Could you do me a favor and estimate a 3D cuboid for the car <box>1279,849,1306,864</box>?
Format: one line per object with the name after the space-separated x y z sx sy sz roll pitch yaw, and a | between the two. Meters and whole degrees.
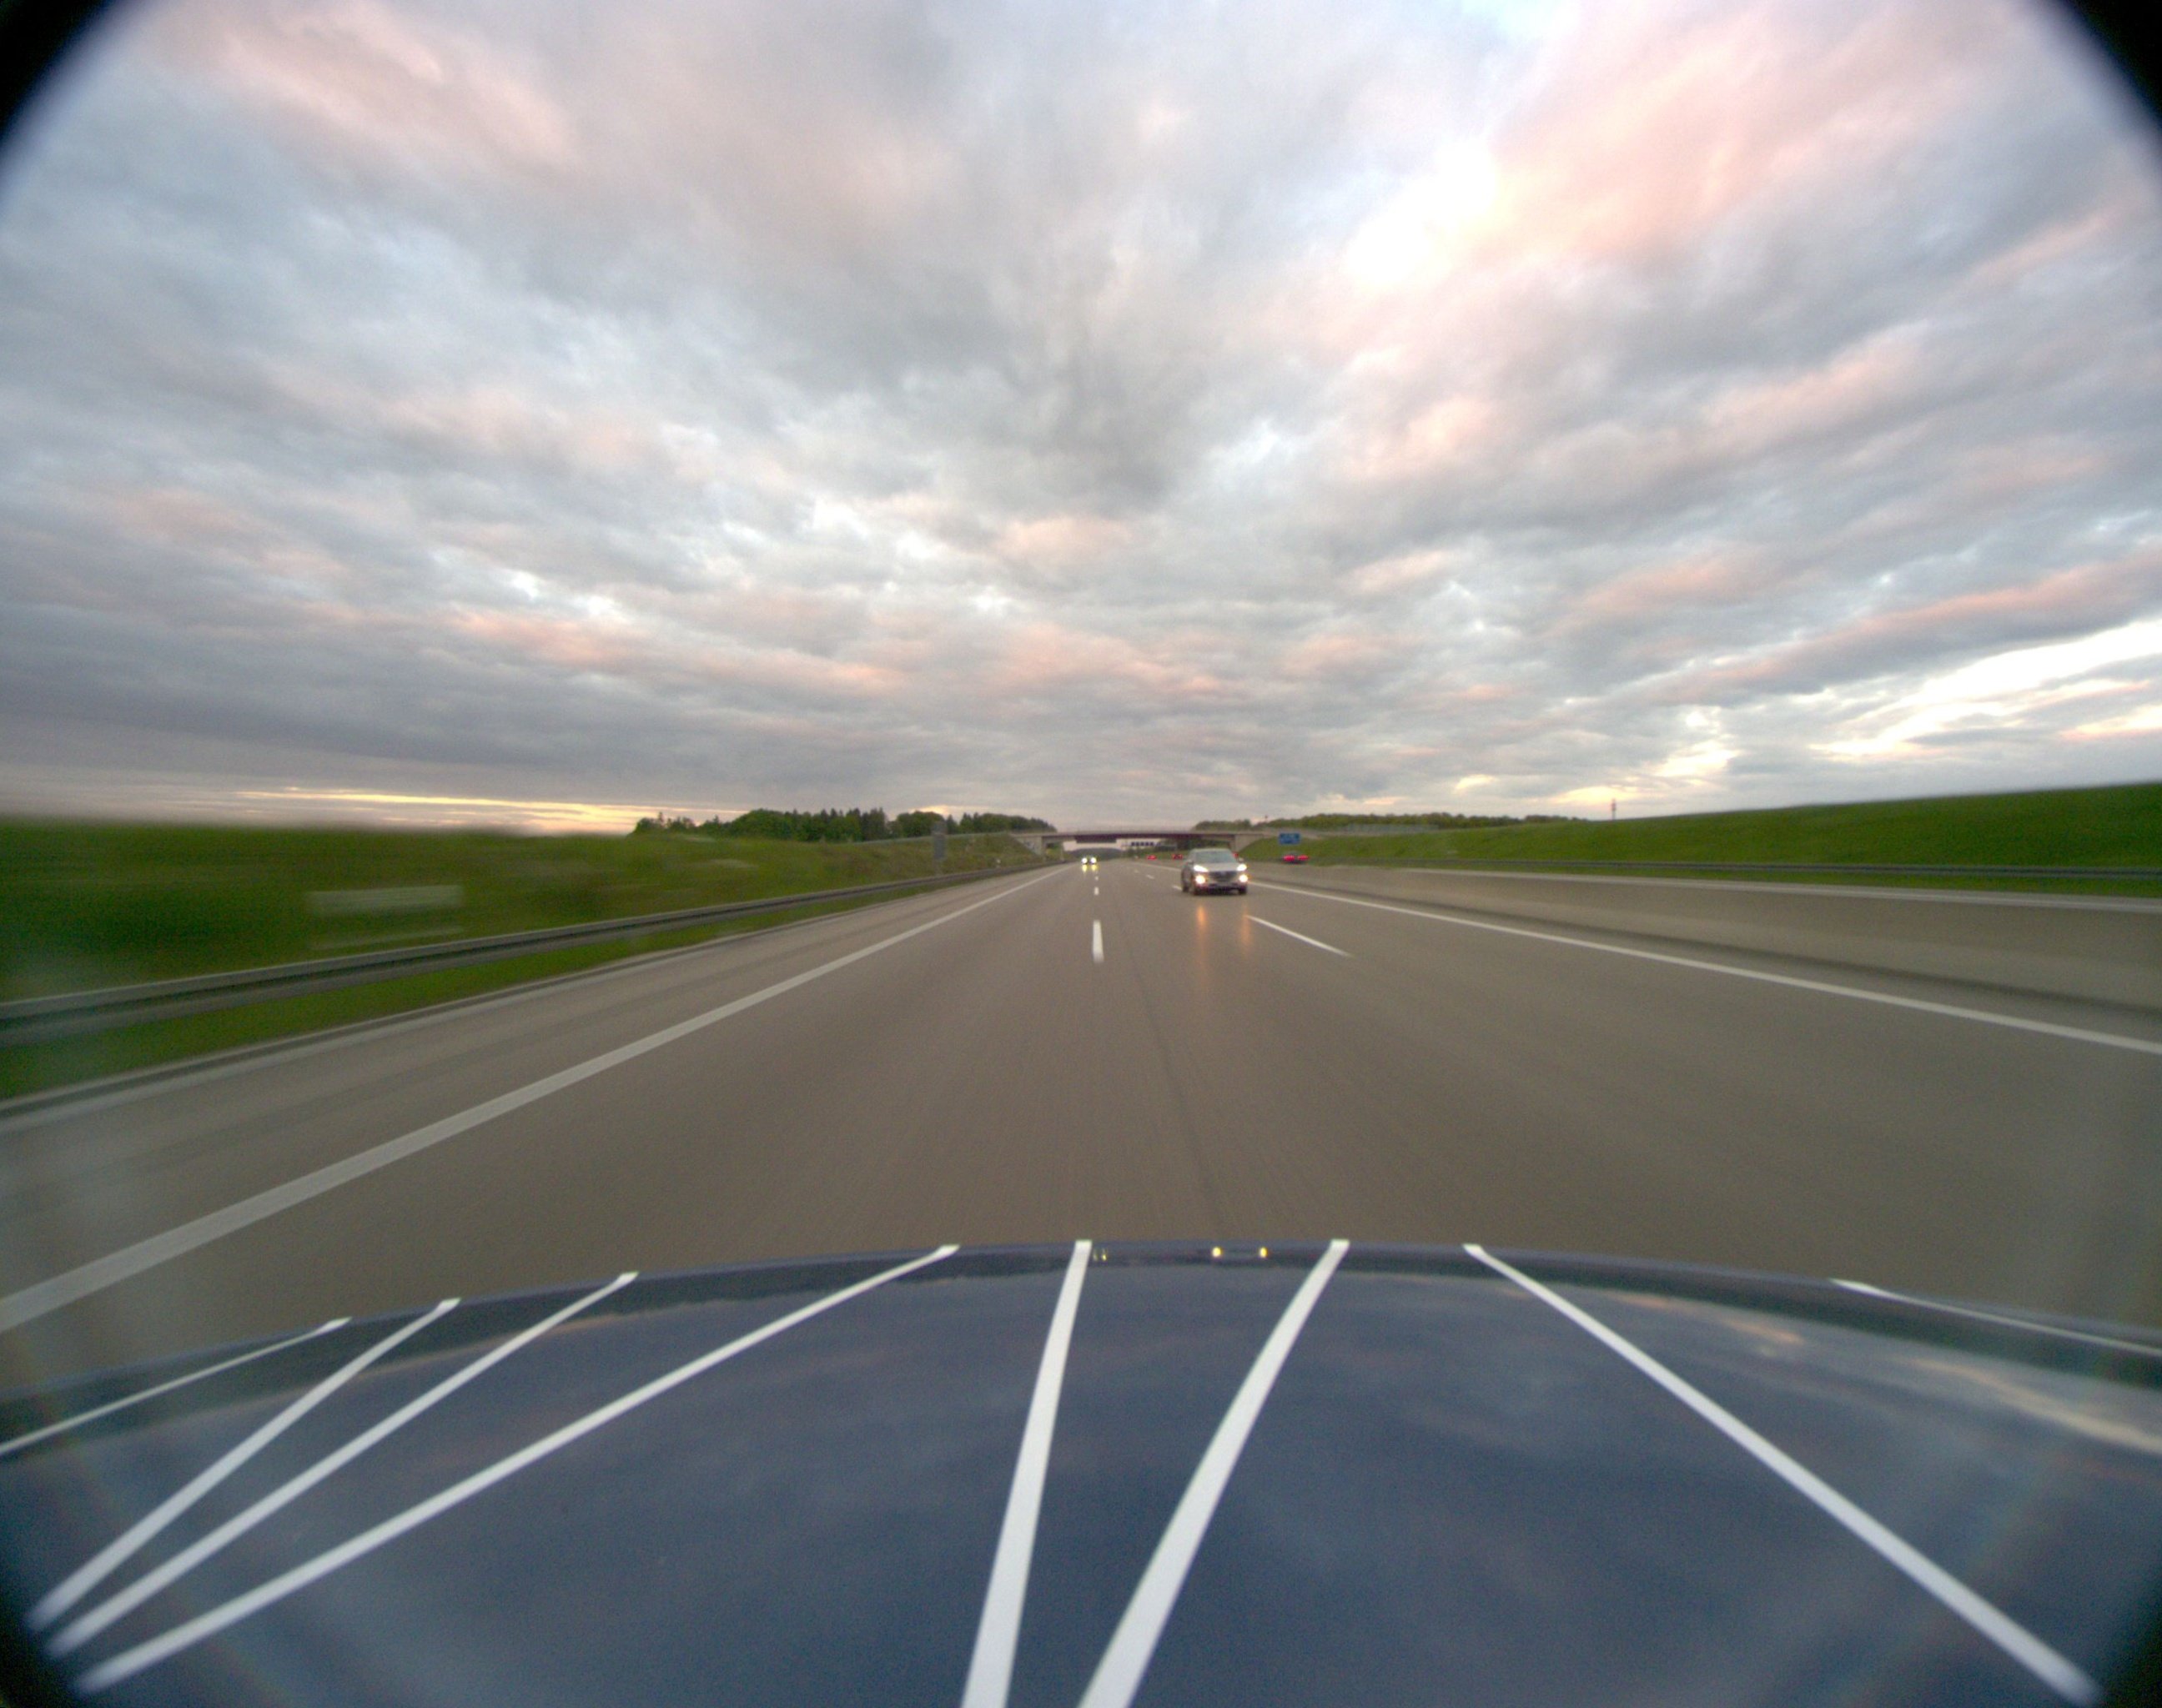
22.738 0.265 81.885 1.634 1.508 4.426 -2 0 1 | car

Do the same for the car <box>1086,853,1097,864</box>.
1.718 0.668 125.430 1.801 1.674 4.385 -1 1 1 | car

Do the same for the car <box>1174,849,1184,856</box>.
25.273 -0.387 196.399 1.998 1.925 5.090 -2 0 1 | car

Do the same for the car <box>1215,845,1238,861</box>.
19.179 -0.104 100.700 2.008 2.002 5.737 -1 0 1 | car

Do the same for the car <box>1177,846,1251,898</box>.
4.775 0.579 28.118 1.857 1.683 5.512 -1 1 1 | car

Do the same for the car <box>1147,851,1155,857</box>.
18.162 -0.086 197.693 1.815 1.427 4.672 -1 0 4 | car
